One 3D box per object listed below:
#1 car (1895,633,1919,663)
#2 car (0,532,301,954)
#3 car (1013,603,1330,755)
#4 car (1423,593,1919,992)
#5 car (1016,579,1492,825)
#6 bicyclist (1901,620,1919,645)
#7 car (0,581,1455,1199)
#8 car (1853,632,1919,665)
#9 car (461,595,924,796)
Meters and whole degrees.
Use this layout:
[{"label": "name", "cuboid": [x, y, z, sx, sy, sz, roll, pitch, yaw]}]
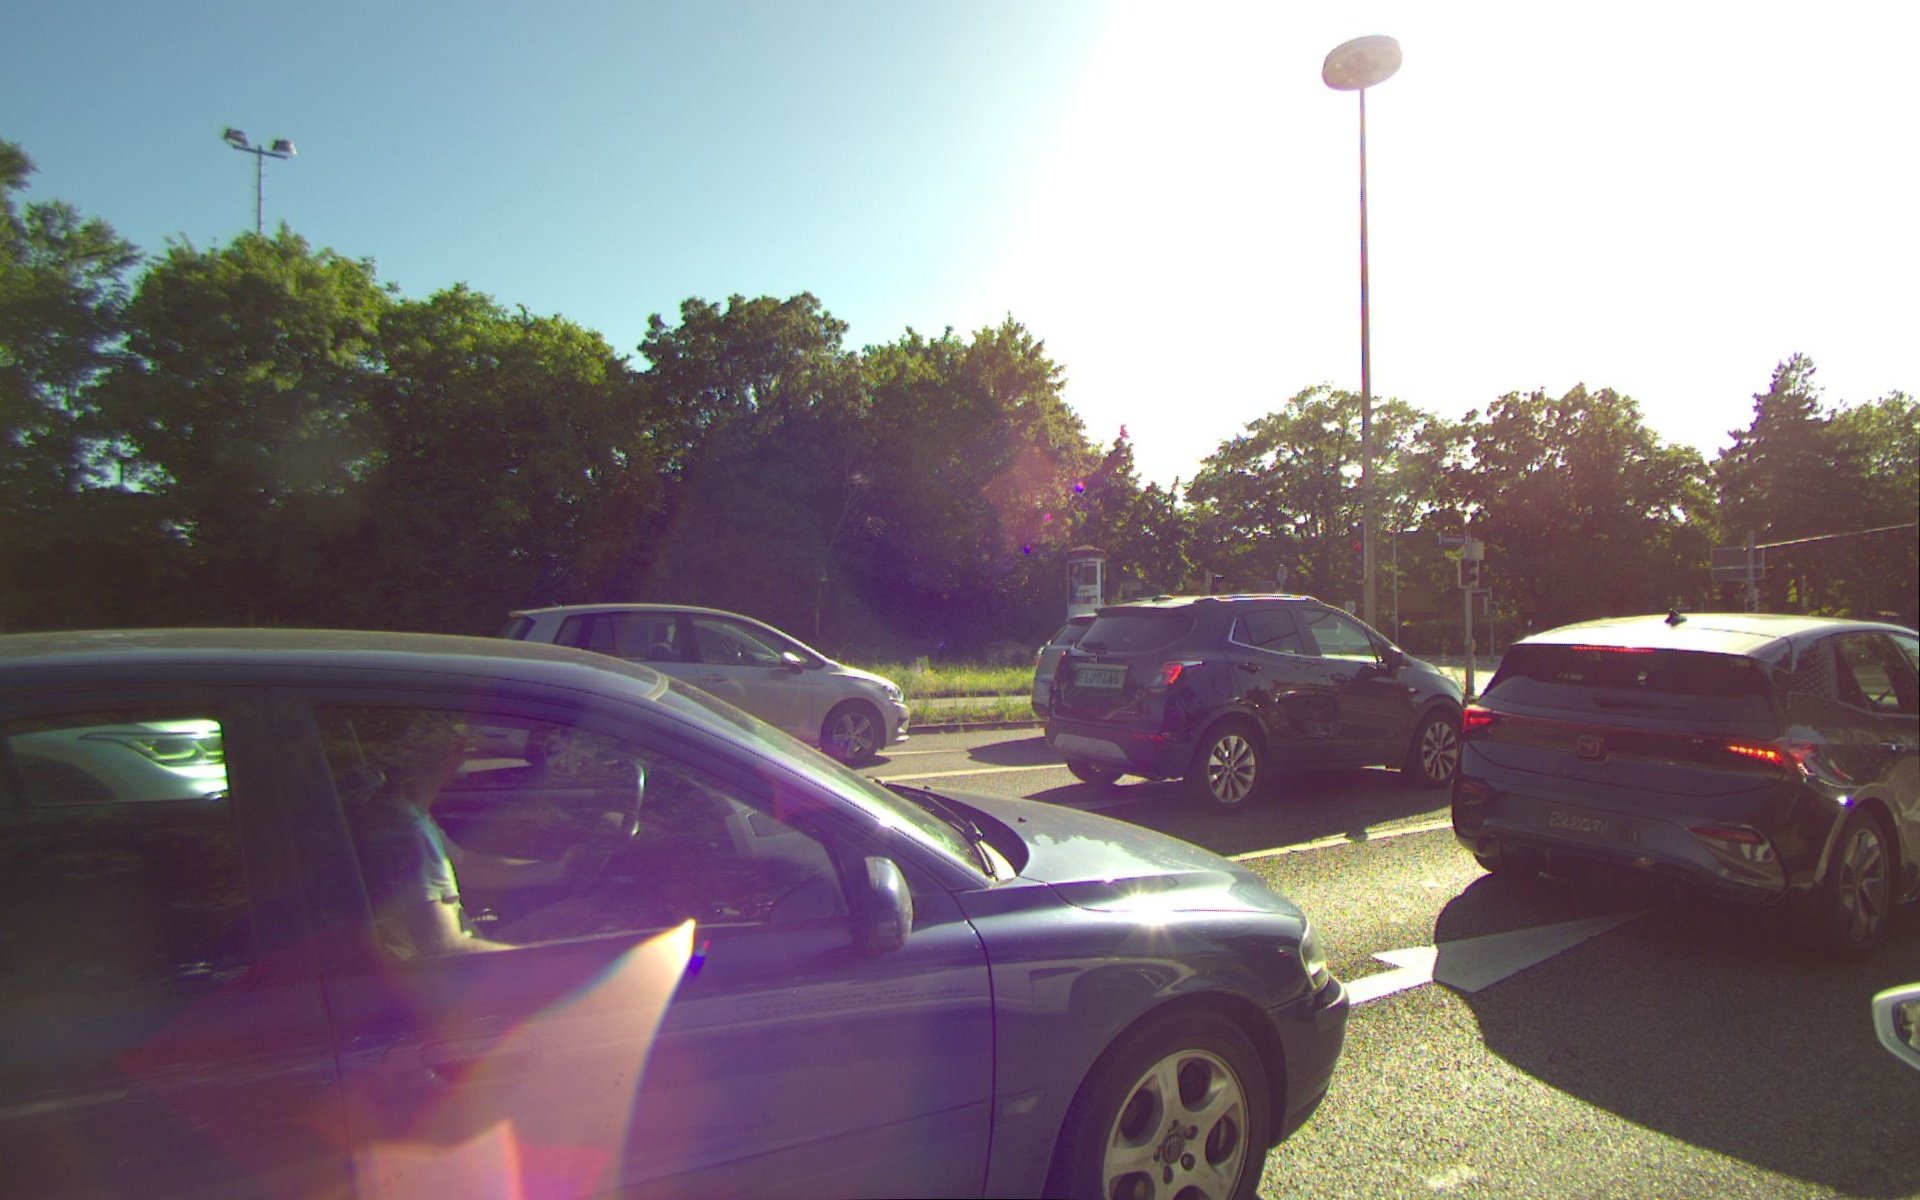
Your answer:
[{"label": "car", "cuboid": [50.199, 2.485, 51.967, 3.959, 1.529, 1.677, 1, -2, -32]}, {"label": "car", "cuboid": [-5.549, 0.592, 4.334, 4.373, 1.732, 1.984, 1, -2, -30]}, {"label": "car", "cuboid": [2.816, 0.953, 13.187, 3.956, 1.724, 1.820, 1, -2, -32]}, {"label": "car", "cuboid": [4.746, 0.828, 5.821, 4.158, 1.601, 1.676, 2, -1, -30]}, {"label": "car", "cuboid": [2.626, 0.770, 8.800, 3.953, 1.711, 1.796, 1, -2, -30]}, {"label": "bicyclist", "cuboid": [63.573, 2.183, 67.036, 1.187, 1.670, 0.870, 1, -2, -34]}, {"label": "car", "cuboid": [-1.090, 0.726, 2.207, 4.404, 1.471, 1.767, 2, 0, -30]}, {"label": "car", "cuboid": [44.738, 2.312, 48.179, 3.956, 1.529, 1.678, 1, -2, -30]}, {"label": "car", "cuboid": [-2.608, 0.836, 10.011, 4.156, 1.632, 1.822, 1, -2, -30]}]
